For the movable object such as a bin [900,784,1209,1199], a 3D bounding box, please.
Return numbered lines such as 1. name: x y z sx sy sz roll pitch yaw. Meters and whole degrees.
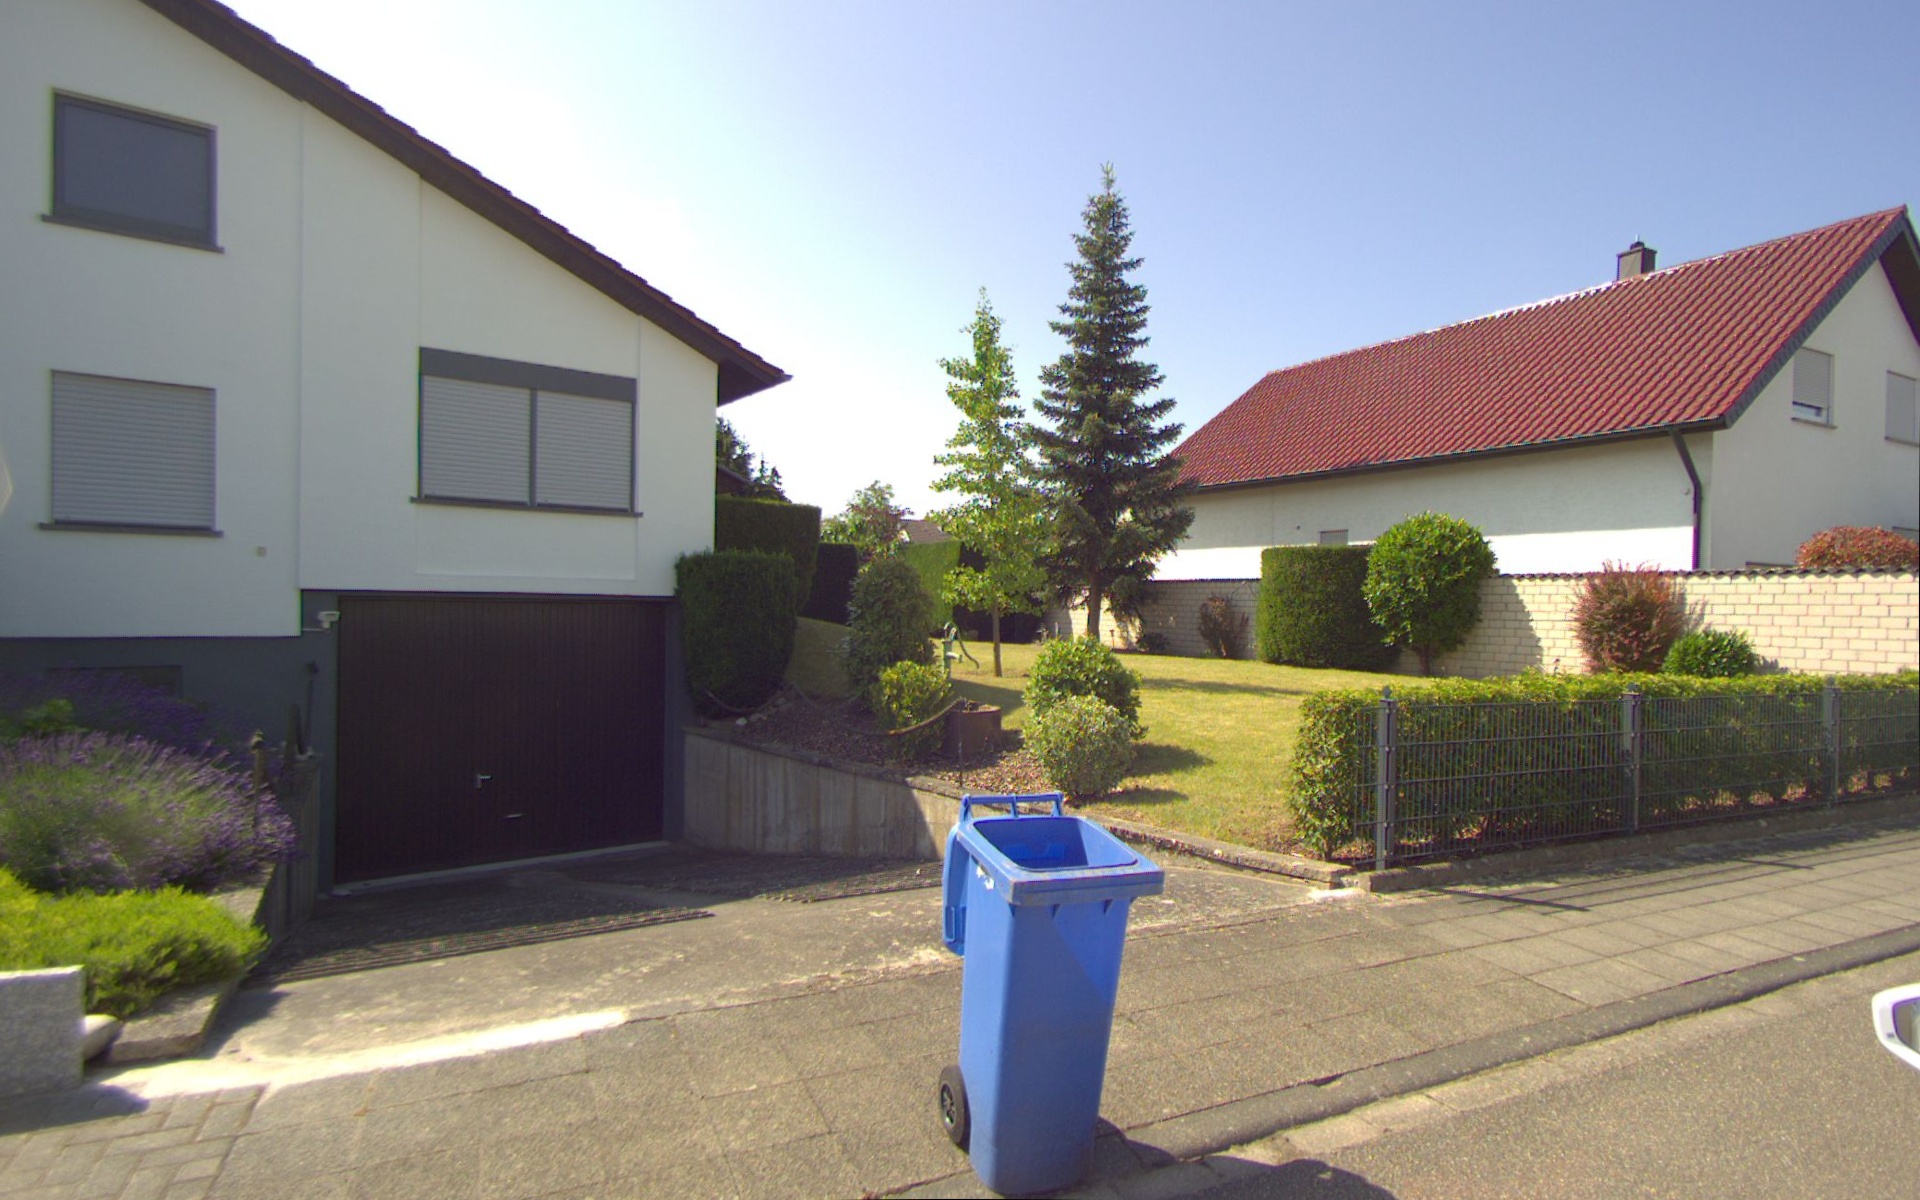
1. movable object such as a bin: 0.234 1.029 2.695 0.590 0.928 0.581 1 1 -27
